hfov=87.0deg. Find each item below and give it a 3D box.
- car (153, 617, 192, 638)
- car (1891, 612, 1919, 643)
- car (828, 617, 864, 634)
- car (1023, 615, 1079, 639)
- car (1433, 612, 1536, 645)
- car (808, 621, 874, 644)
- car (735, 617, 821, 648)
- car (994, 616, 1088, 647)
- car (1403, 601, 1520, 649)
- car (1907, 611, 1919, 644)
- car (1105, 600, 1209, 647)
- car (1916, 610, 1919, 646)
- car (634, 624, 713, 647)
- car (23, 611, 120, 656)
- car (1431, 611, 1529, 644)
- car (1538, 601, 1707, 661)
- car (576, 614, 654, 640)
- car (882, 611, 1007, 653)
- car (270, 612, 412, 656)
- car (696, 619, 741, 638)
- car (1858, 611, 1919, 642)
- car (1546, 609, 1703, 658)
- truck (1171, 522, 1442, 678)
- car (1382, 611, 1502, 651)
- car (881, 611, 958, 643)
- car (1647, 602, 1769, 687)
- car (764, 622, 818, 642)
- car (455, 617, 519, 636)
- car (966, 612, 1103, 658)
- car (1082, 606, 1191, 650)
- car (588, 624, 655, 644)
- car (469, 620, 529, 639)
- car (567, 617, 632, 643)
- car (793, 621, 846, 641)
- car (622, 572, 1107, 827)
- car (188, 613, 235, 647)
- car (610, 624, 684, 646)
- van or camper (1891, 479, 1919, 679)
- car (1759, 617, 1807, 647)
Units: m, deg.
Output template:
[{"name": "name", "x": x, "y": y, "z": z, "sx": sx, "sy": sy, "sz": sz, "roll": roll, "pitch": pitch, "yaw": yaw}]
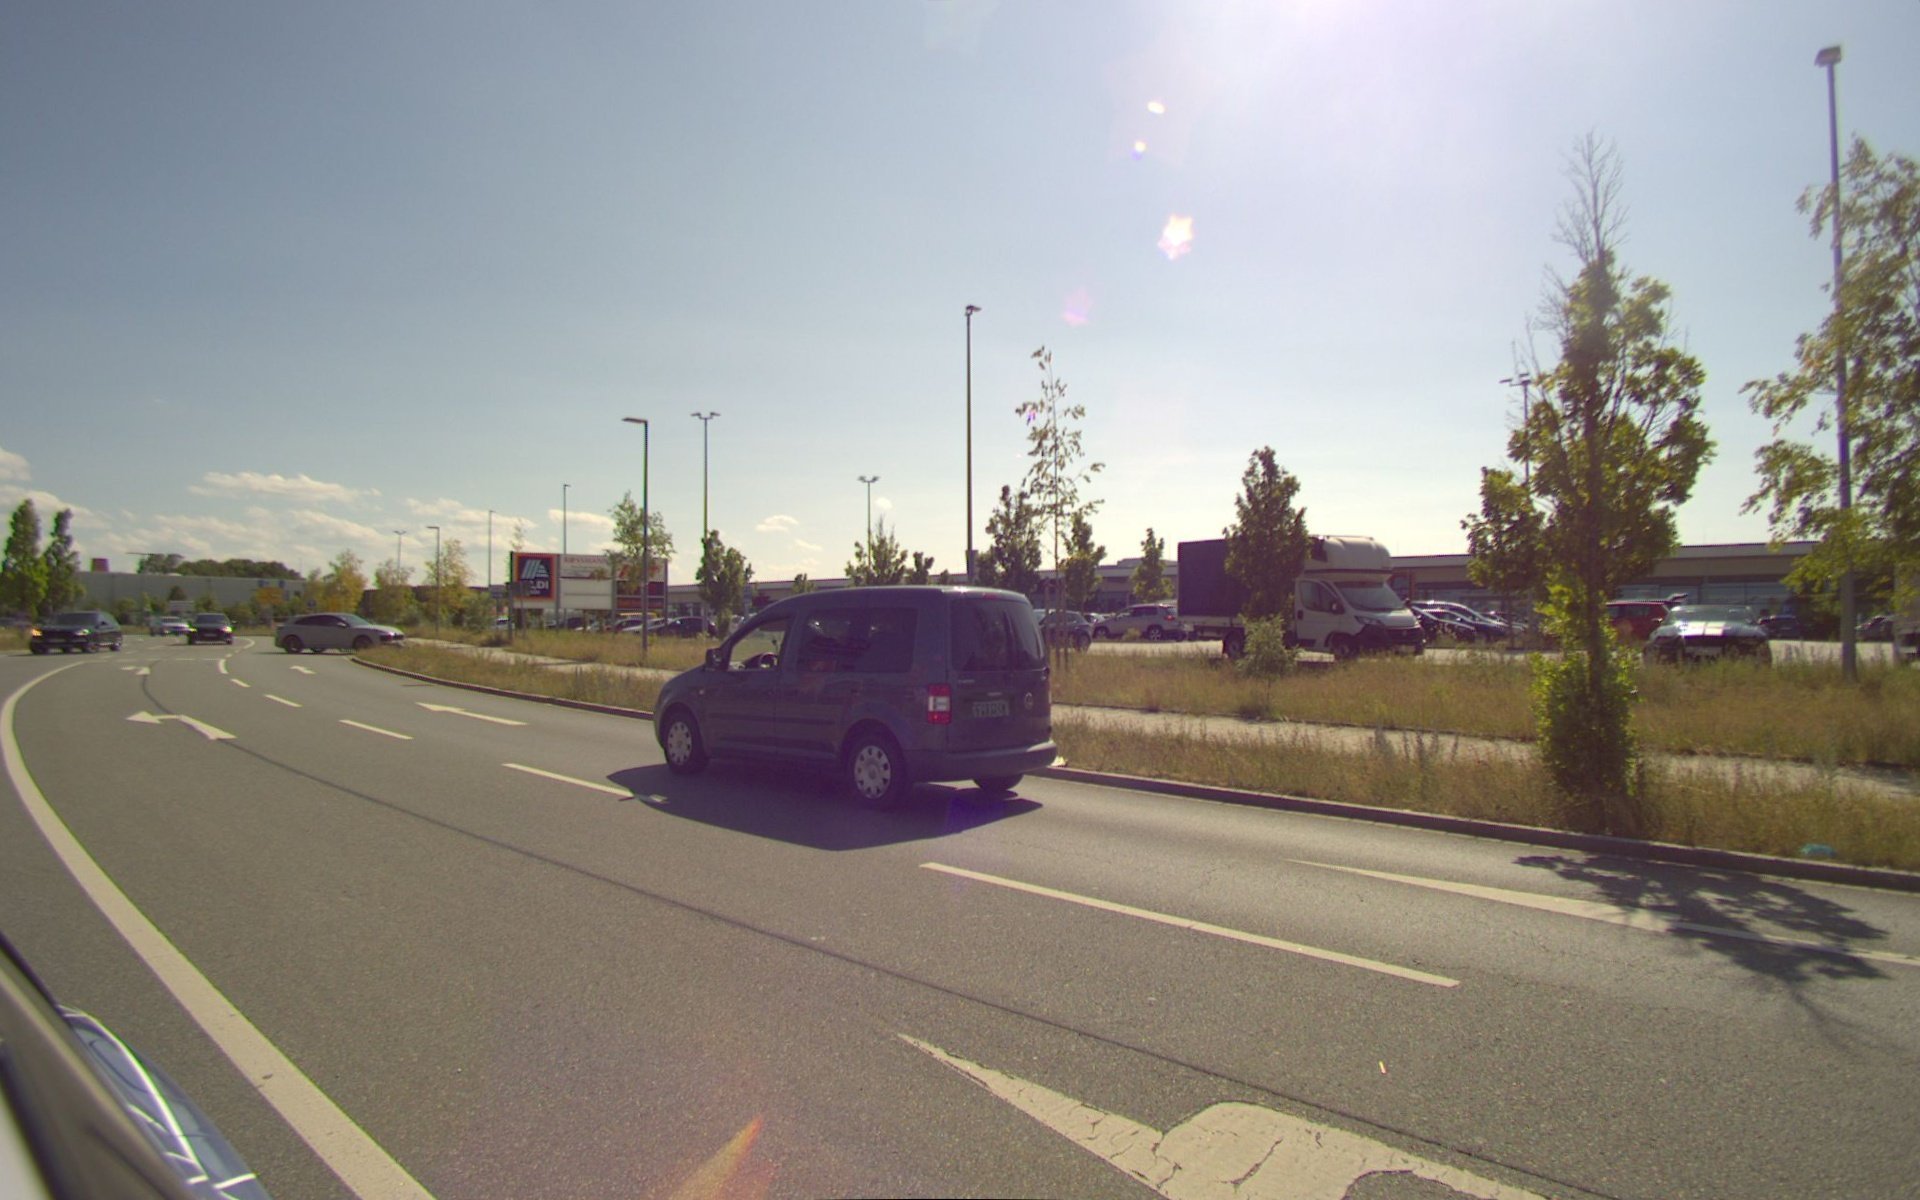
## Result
[{"name": "car", "x": -59.144, "y": 2.084, "z": 75.967, "sx": 1.879, "sy": 1.522, "sz": 4.003, "roll": 2, "pitch": -2, "yaw": -43}, {"name": "car", "x": 48.897, "y": 1.353, "z": 49.915, "sx": 4.071, "sy": 1.552, "sz": 1.648, "roll": -1, "pitch": -2, "yaw": 33}, {"name": "car", "x": -12.201, "y": 2.730, "z": 108.243, "sx": 1.710, "sy": 1.821, "sz": 4.312, "roll": -1, "pitch": -2, "yaw": 29}, {"name": "car", "x": 7.501, "y": 2.232, "z": 83.725, "sx": 4.342, "sy": 1.974, "sz": 1.698, "roll": -1, "pitch": -2, "yaw": 34}, {"name": "car", "x": 26.218, "y": 1.413, "z": 50.631, "sx": 4.372, "sy": 1.604, "sz": 1.816, "roll": -1, "pitch": -2, "yaw": 35}, {"name": "car", "x": -8.016, "y": 2.195, "z": 68.009, "sx": 4.342, "sy": 1.528, "sz": 1.698, "roll": -1, "pitch": -2, "yaw": 34}, {"name": "car", "x": -9.417, "y": 1.680, "z": 52.361, "sx": 4.154, "sy": 1.559, "sz": 1.923, "roll": 1, "pitch": -1, "yaw": -17}, {"name": "car", "x": 4.022, "y": 1.554, "z": 50.542, "sx": 4.372, "sy": 1.523, "sz": 1.816, "roll": -1, "pitch": -2, "yaw": 35}, {"name": "car", "x": 21.995, "y": 1.102, "z": 44.447, "sx": 4.372, "sy": 2.009, "sz": 1.816, "roll": -1, "pitch": -2, "yaw": 35}, {"name": "car", "x": 47.793, "y": 1.307, "z": 47.895, "sx": 4.071, "sy": 1.570, "sz": 1.648, "roll": -1, "pitch": -2, "yaw": 33}, {"name": "car", "x": 9.109, "y": 1.105, "z": 46.930, "sx": 4.372, "sy": 2.080, "sz": 1.816, "roll": -1, "pitch": -2, "yaw": 35}, {"name": "car", "x": 44.939, "y": 1.235, "z": 44.389, "sx": 4.071, "sy": 1.589, "sz": 1.648, "roll": -1, "pitch": -2, "yaw": 33}, {"name": "car", "x": -17.047, "y": 2.117, "z": 60.315, "sx": 4.089, "sy": 1.358, "sz": 1.941, "roll": 1, "pitch": -2, "yaw": -36}, {"name": "car", "x": -35.193, "y": 1.360, "z": 40.235, "sx": 1.869, "sy": 1.692, "sz": 4.480, "roll": 0, "pitch": -3, "yaw": -28}, {"name": "car", "x": 27.222, "y": 1.439, "z": 53.058, "sx": 4.372, "sy": 1.645, "sz": 1.816, "roll": -1, "pitch": -2, "yaw": 35}, {"name": "car", "x": 20.865, "y": 0.969, "z": 32.069, "sx": 4.368, "sy": 1.787, "sz": 1.818, "roll": -1, "pitch": -2, "yaw": 33}, {"name": "car", "x": -27.491, "y": 2.149, "z": 80.860, "sx": 5.615, "sy": 1.980, "sz": 2.001, "roll": 2, "pitch": -3, "yaw": -45}, {"name": "car", "x": -0.514, "y": 1.175, "z": 37.381, "sx": 4.519, "sy": 1.469, "sz": 1.841, "roll": 1, "pitch": -2, "yaw": -41}, {"name": "car", "x": -25.866, "y": 1.423, "z": 42.417, "sx": 4.712, "sy": 1.656, "sz": 2.115, "roll": -2, "pitch": -2, "yaw": 1}, {"name": "car", "x": -23.439, "y": 2.792, "z": 98.162, "sx": 4.575, "sy": 1.754, "sz": 1.696, "roll": -1, "pitch": -2, "yaw": 37}, {"name": "car", "x": 49.883, "y": 1.383, "z": 52.938, "sx": 4.071, "sy": 1.608, "sz": 1.648, "roll": -1, "pitch": -2, "yaw": 33}, {"name": "car", "x": 22.673, "y": 1.122, "z": 34.727, "sx": 4.368, "sy": 1.574, "sz": 1.818, "roll": -1, "pitch": -2, "yaw": 33}, {"name": "truck", "x": 8.664, "y": 0.086, "z": 26.491, "sx": 2.284, "sy": 3.491, "sz": 7.518, "roll": 1, "pitch": -1, "yaw": -23}, {"name": "car", "x": 20.177, "y": 1.283, "z": 42.383, "sx": 4.368, "sy": 1.574, "sz": 1.818, "roll": -1, "pitch": -2, "yaw": 33}, {"name": "car", "x": -2.567, "y": 1.717, "z": 64.206, "sx": 4.821, "sy": 2.001, "sz": 1.697, "roll": -1, "pitch": -2, "yaw": 34}, {"name": "car", "x": 15.414, "y": 0.870, "z": 20.831, "sx": 1.835, "sy": 1.564, "sz": 4.326, "roll": -1, "pitch": -2, "yaw": 38}, {"name": "car", "x": -13.627, "y": 2.557, "z": 81.438, "sx": 4.342, "sy": 1.561, "sz": 1.698, "roll": -1, "pitch": -2, "yaw": 34}, {"name": "car", "x": -44.820, "y": 2.525, "z": 96.053, "sx": 1.999, "sy": 1.685, "sz": 5.126, "roll": -2, "pitch": -2, "yaw": 41}, {"name": "car", "x": 2.475, "y": 1.115, "z": 33.062, "sx": 4.369, "sy": 1.394, "sz": 1.978, "roll": 1, "pitch": -2, "yaw": -41}, {"name": "car", "x": 7.740, "y": 1.232, "z": 44.490, "sx": 4.372, "sy": 1.837, "sz": 1.816, "roll": -1, "pitch": -2, "yaw": 35}, {"name": "car", "x": -23.662, "y": 2.345, "z": 70.827, "sx": 4.089, "sy": 1.358, "sz": 1.941, "roll": 1, "pitch": -2, "yaw": -36}, {"name": "car", "x": -41.740, "y": 2.661, "z": 91.762, "sx": 4.535, "sy": 1.685, "sz": 2.002, "roll": 2, "pitch": -3, "yaw": -44}, {"name": "car", "x": -26.589, "y": 2.227, "z": 74.745, "sx": 4.090, "sy": 1.875, "sz": 1.936, "roll": 2, "pitch": -2, "yaw": -38}, {"name": "car", "x": -11.699, "y": 2.597, "z": 84.068, "sx": 4.342, "sy": 1.584, "sz": 1.698, "roll": -1, "pitch": -2, "yaw": 34}, {"name": "car", "x": -1.042, "y": 0.793, "z": 9.385, "sx": 4.423, "sy": 1.808, "sz": 1.931, "roll": -2, "pitch": -4, "yaw": 40}, {"name": "car", "x": -38.506, "y": 1.552, "z": 52.123, "sx": 1.728, "sy": 1.700, "sz": 4.392, "roll": 1, "pitch": -2, "yaw": -34}, {"name": "car", "x": -19.858, "y": 2.201, "z": 64.244, "sx": 4.089, "sy": 1.358, "sz": 1.941, "roll": 1, "pitch": -2, "yaw": -36}, {"name": "van or camper", "x": 18.496, "y": -0.340, "z": 17.784, "sx": 2.553, "sy": 3.495, "sz": 7.616, "roll": -1, "pitch": -2, "yaw": 39}, {"name": "car", "x": 51.335, "y": 1.991, "z": 63.200, "sx": 1.995, "sy": 1.839, "sz": 3.952, "roll": -1, "pitch": -2, "yaw": 35}]
